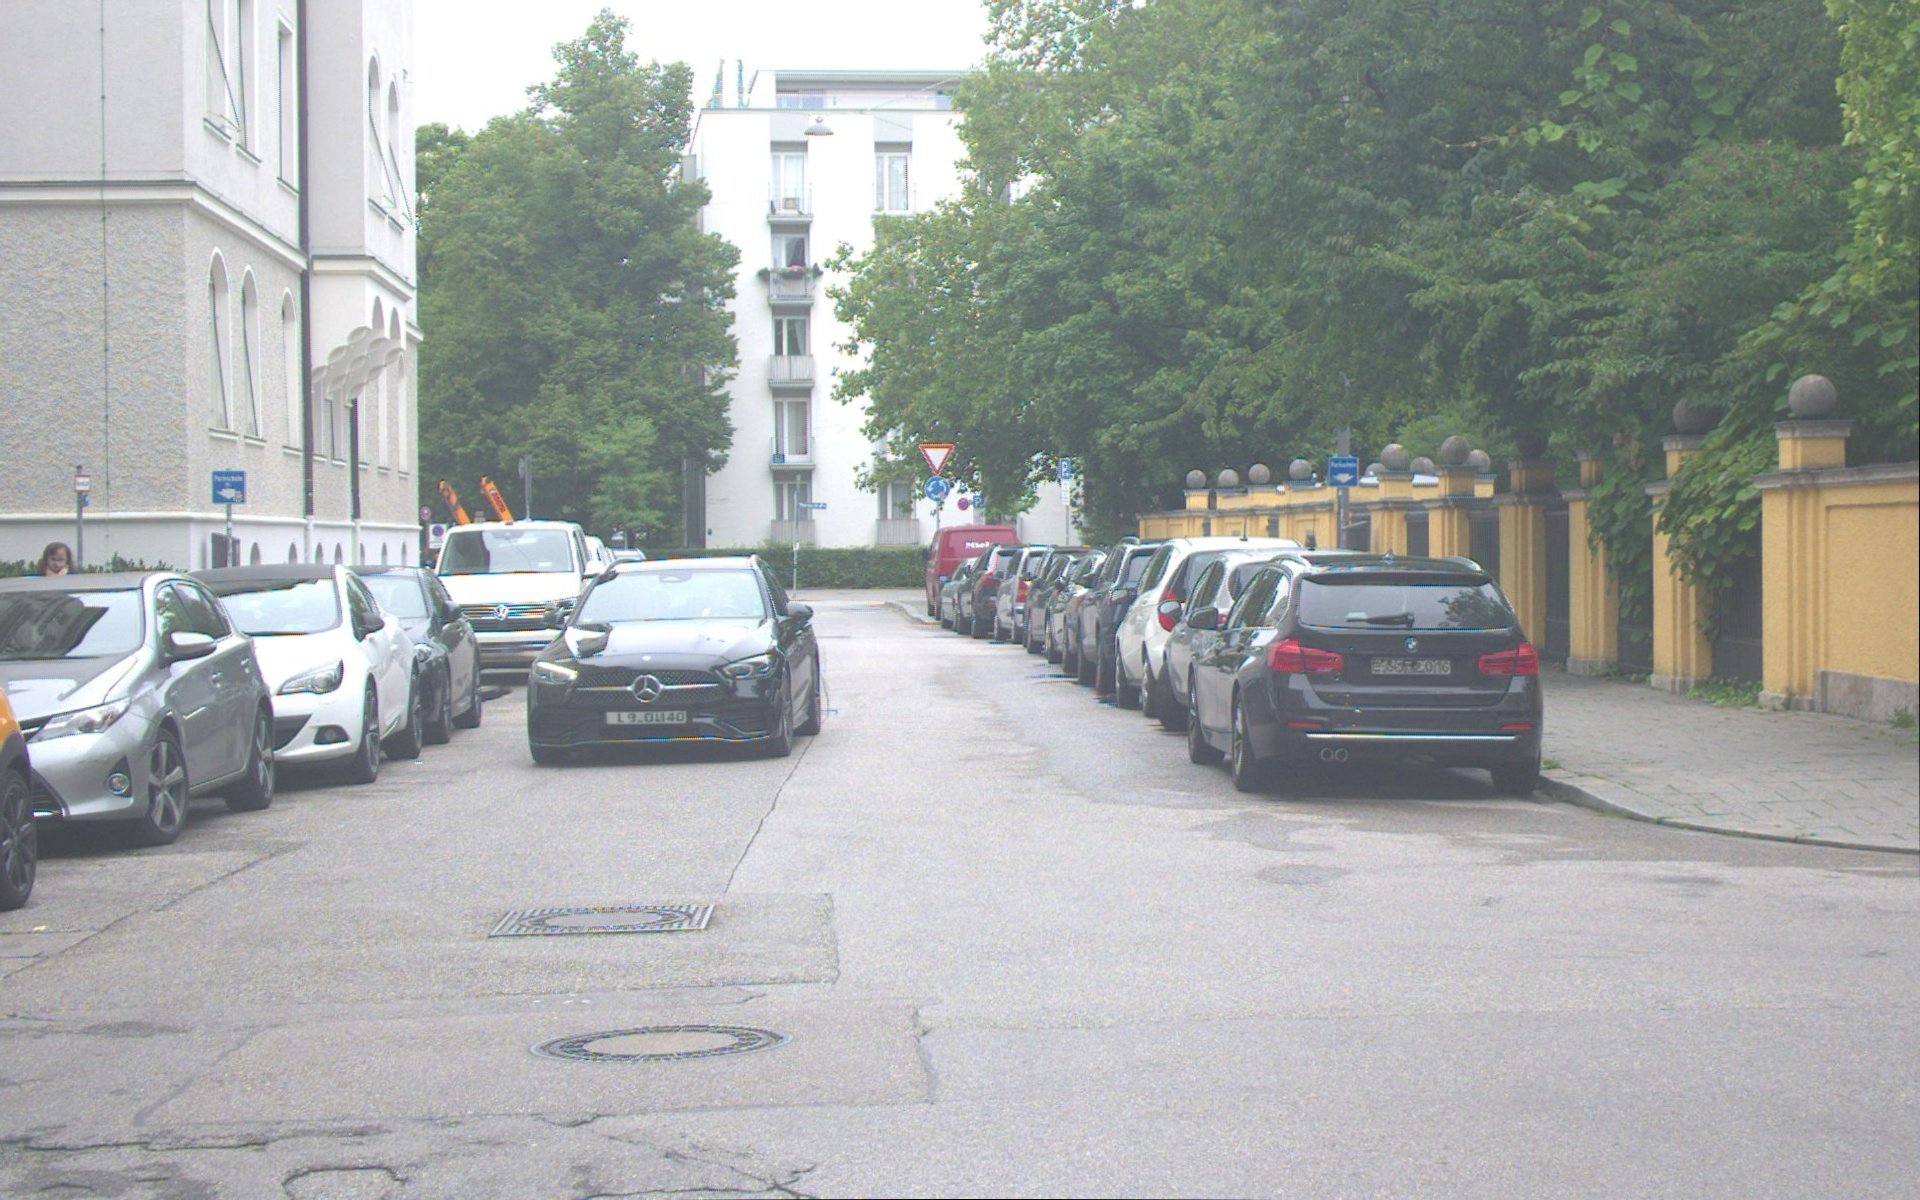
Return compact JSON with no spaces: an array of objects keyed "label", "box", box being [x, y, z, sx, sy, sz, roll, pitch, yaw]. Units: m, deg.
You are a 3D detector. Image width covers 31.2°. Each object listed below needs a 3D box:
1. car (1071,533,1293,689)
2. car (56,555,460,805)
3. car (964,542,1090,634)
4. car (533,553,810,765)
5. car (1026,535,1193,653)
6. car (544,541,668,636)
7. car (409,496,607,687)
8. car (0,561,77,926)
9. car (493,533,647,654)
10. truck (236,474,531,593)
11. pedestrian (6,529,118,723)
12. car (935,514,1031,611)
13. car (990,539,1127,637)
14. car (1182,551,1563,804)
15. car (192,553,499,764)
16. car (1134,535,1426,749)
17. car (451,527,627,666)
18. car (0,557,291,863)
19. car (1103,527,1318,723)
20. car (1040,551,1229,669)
[{"label":"car","box":[2.301,0.095,36.611,1.838,1.546,3.948,1,1,-4]},{"label":"car","box":[-4.746,0.479,23.870,1.836,1.433,4.275,-3,1,0]},{"label":"car","box":[1.138,-0.222,60.122,1.838,1.513,3.948,1,1,-4]},{"label":"car","box":[-2.071,0.372,25.717,1.874,1.423,4.409,0,1,-3]},{"label":"car","box":[2.000,-0.096,47.095,1.838,1.513,3.948,1,1,-4]},{"label":"car","box":[-6.758,-0.255,66.027,2.015,1.628,4.414,-3,1,-2]},{"label":"car","box":[-5.498,-0.150,42.369,1.886,2.120,4.707,-3,1,-2]},{"label":"car","box":[-4.842,0.667,13.403,1.640,1.494,3.972,-3,1,1]},{"label":"car","box":[-6.106,-0.141,54.304,2.015,1.720,4.275,-3,1,-2]},{"label":"truck","box":[-16.147,-1.881,96.581,7.672,3.230,2.898,-1,1,-37]},{"label":"pedestrian","box":[-7.910,0.221,30.301,0.792,1.673,0.700,-1,1,-2]},{"label":"car","box":[0.502,-0.813,72.069,1.836,1.920,4.004,2,1,2]},{"label":"car","box":[1.566,-0.205,55.942,1.838,1.513,3.948,1,1,-4]},{"label":"car","box":[2.481,0.419,21.663,1.838,1.408,4.342,1,0,0]},{"label":"car","box":[-5.031,0.425,28.688,1.836,1.494,4.275,-3,1,-2]},{"label":"car","box":[2.405,0.286,26.686,1.652,1.513,3.795,1,1,-4]},{"label":"car","box":[-5.882,-0.095,48.499,2.015,1.765,4.414,-3,1,-2]},{"label":"car","box":[-4.972,0.539,18.976,1.726,1.494,3.930,-2,1,0]},{"label":"car","box":[2.232,0.198,31.415,1.513,1.656,3.674,1,0,-3]},{"label":"car","box":[2.090,0.098,42.174,1.838,1.341,3.948,1,1,-4]}]
